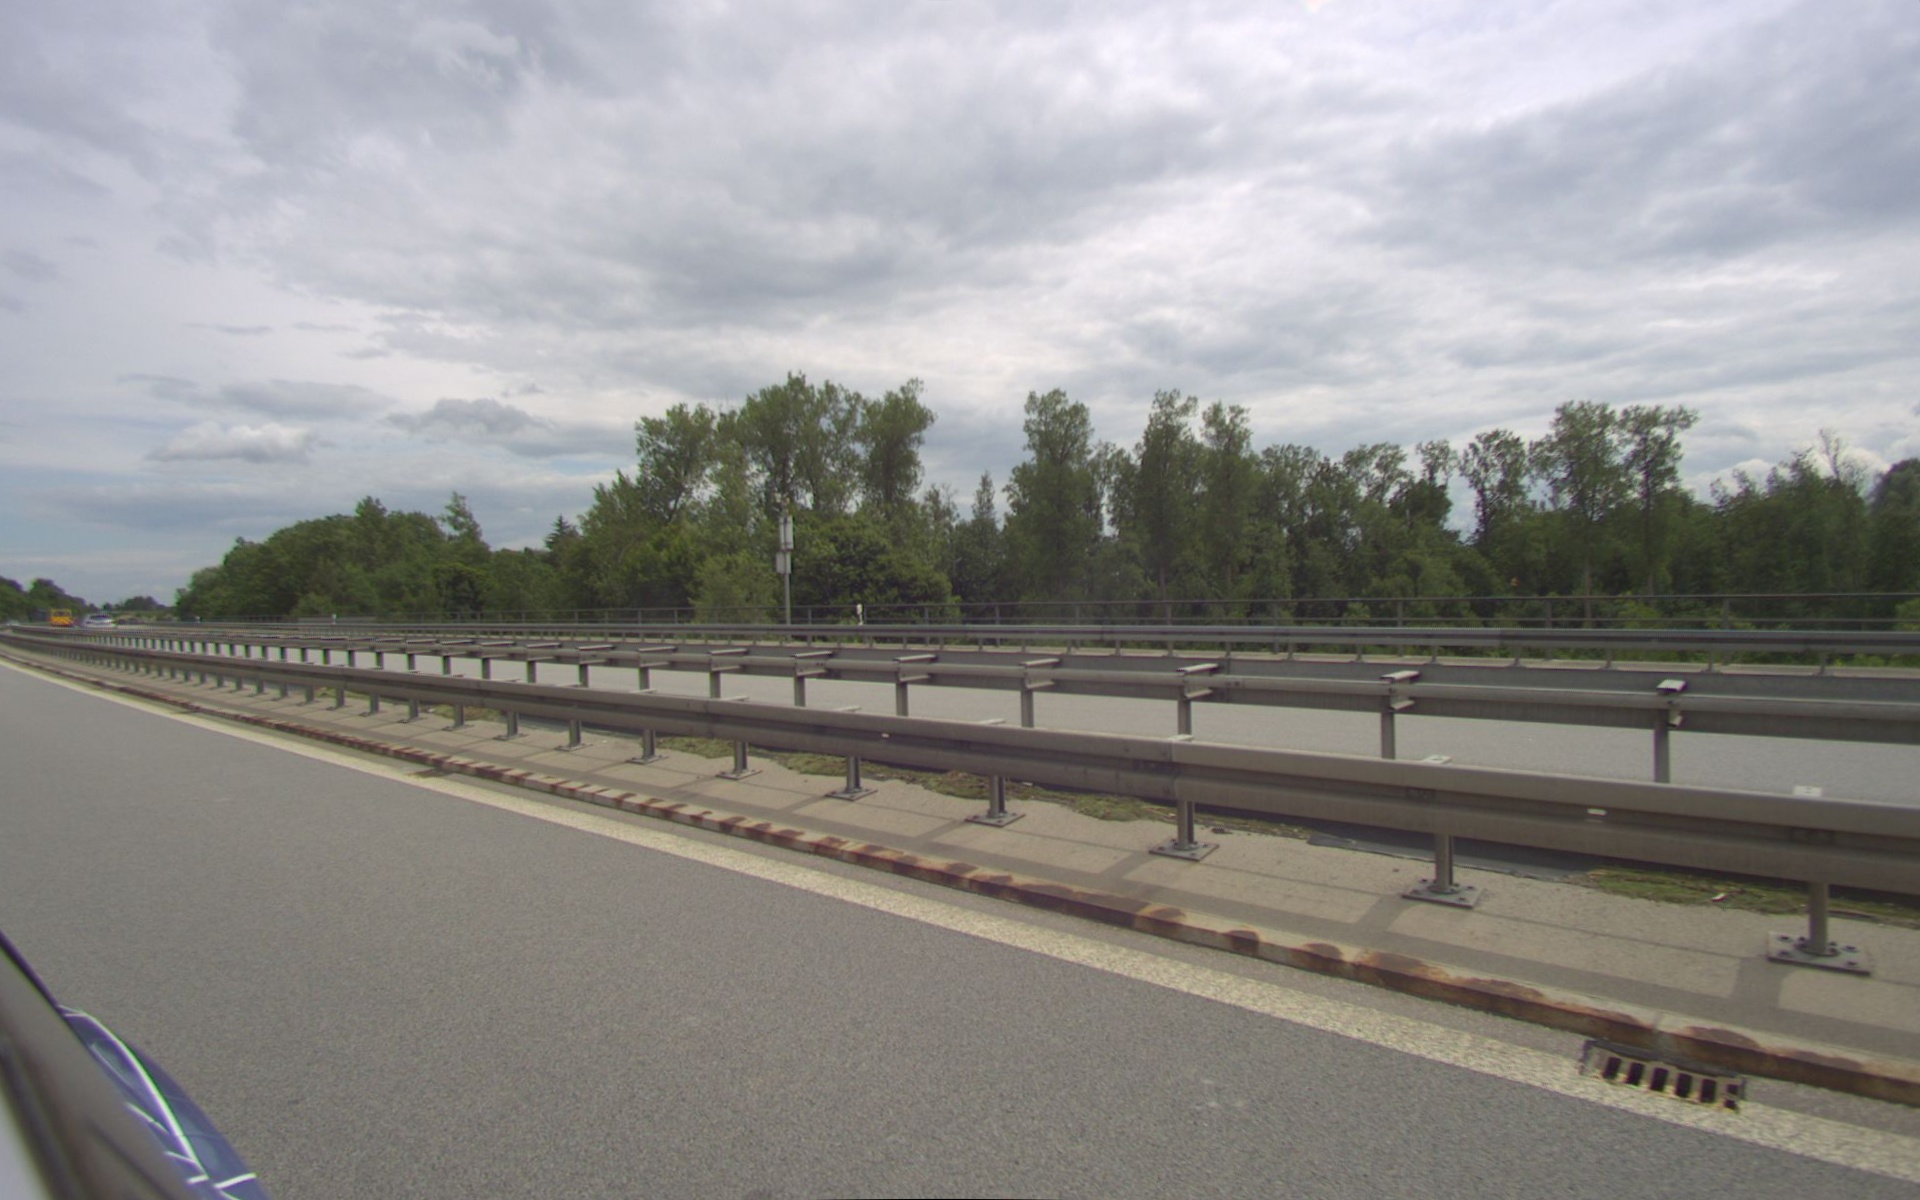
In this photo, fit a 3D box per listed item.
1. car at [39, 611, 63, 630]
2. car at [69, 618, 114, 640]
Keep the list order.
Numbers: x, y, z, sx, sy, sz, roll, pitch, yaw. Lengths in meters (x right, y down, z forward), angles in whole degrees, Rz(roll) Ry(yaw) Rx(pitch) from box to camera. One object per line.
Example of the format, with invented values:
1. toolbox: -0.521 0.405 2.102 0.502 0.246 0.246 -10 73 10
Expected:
1. car: -110.163 2.485 122.628 1.970 2.310 6.403 -1 0 -44
2. car: -58.221 1.913 67.822 4.387 1.397 1.753 -1 0 43
